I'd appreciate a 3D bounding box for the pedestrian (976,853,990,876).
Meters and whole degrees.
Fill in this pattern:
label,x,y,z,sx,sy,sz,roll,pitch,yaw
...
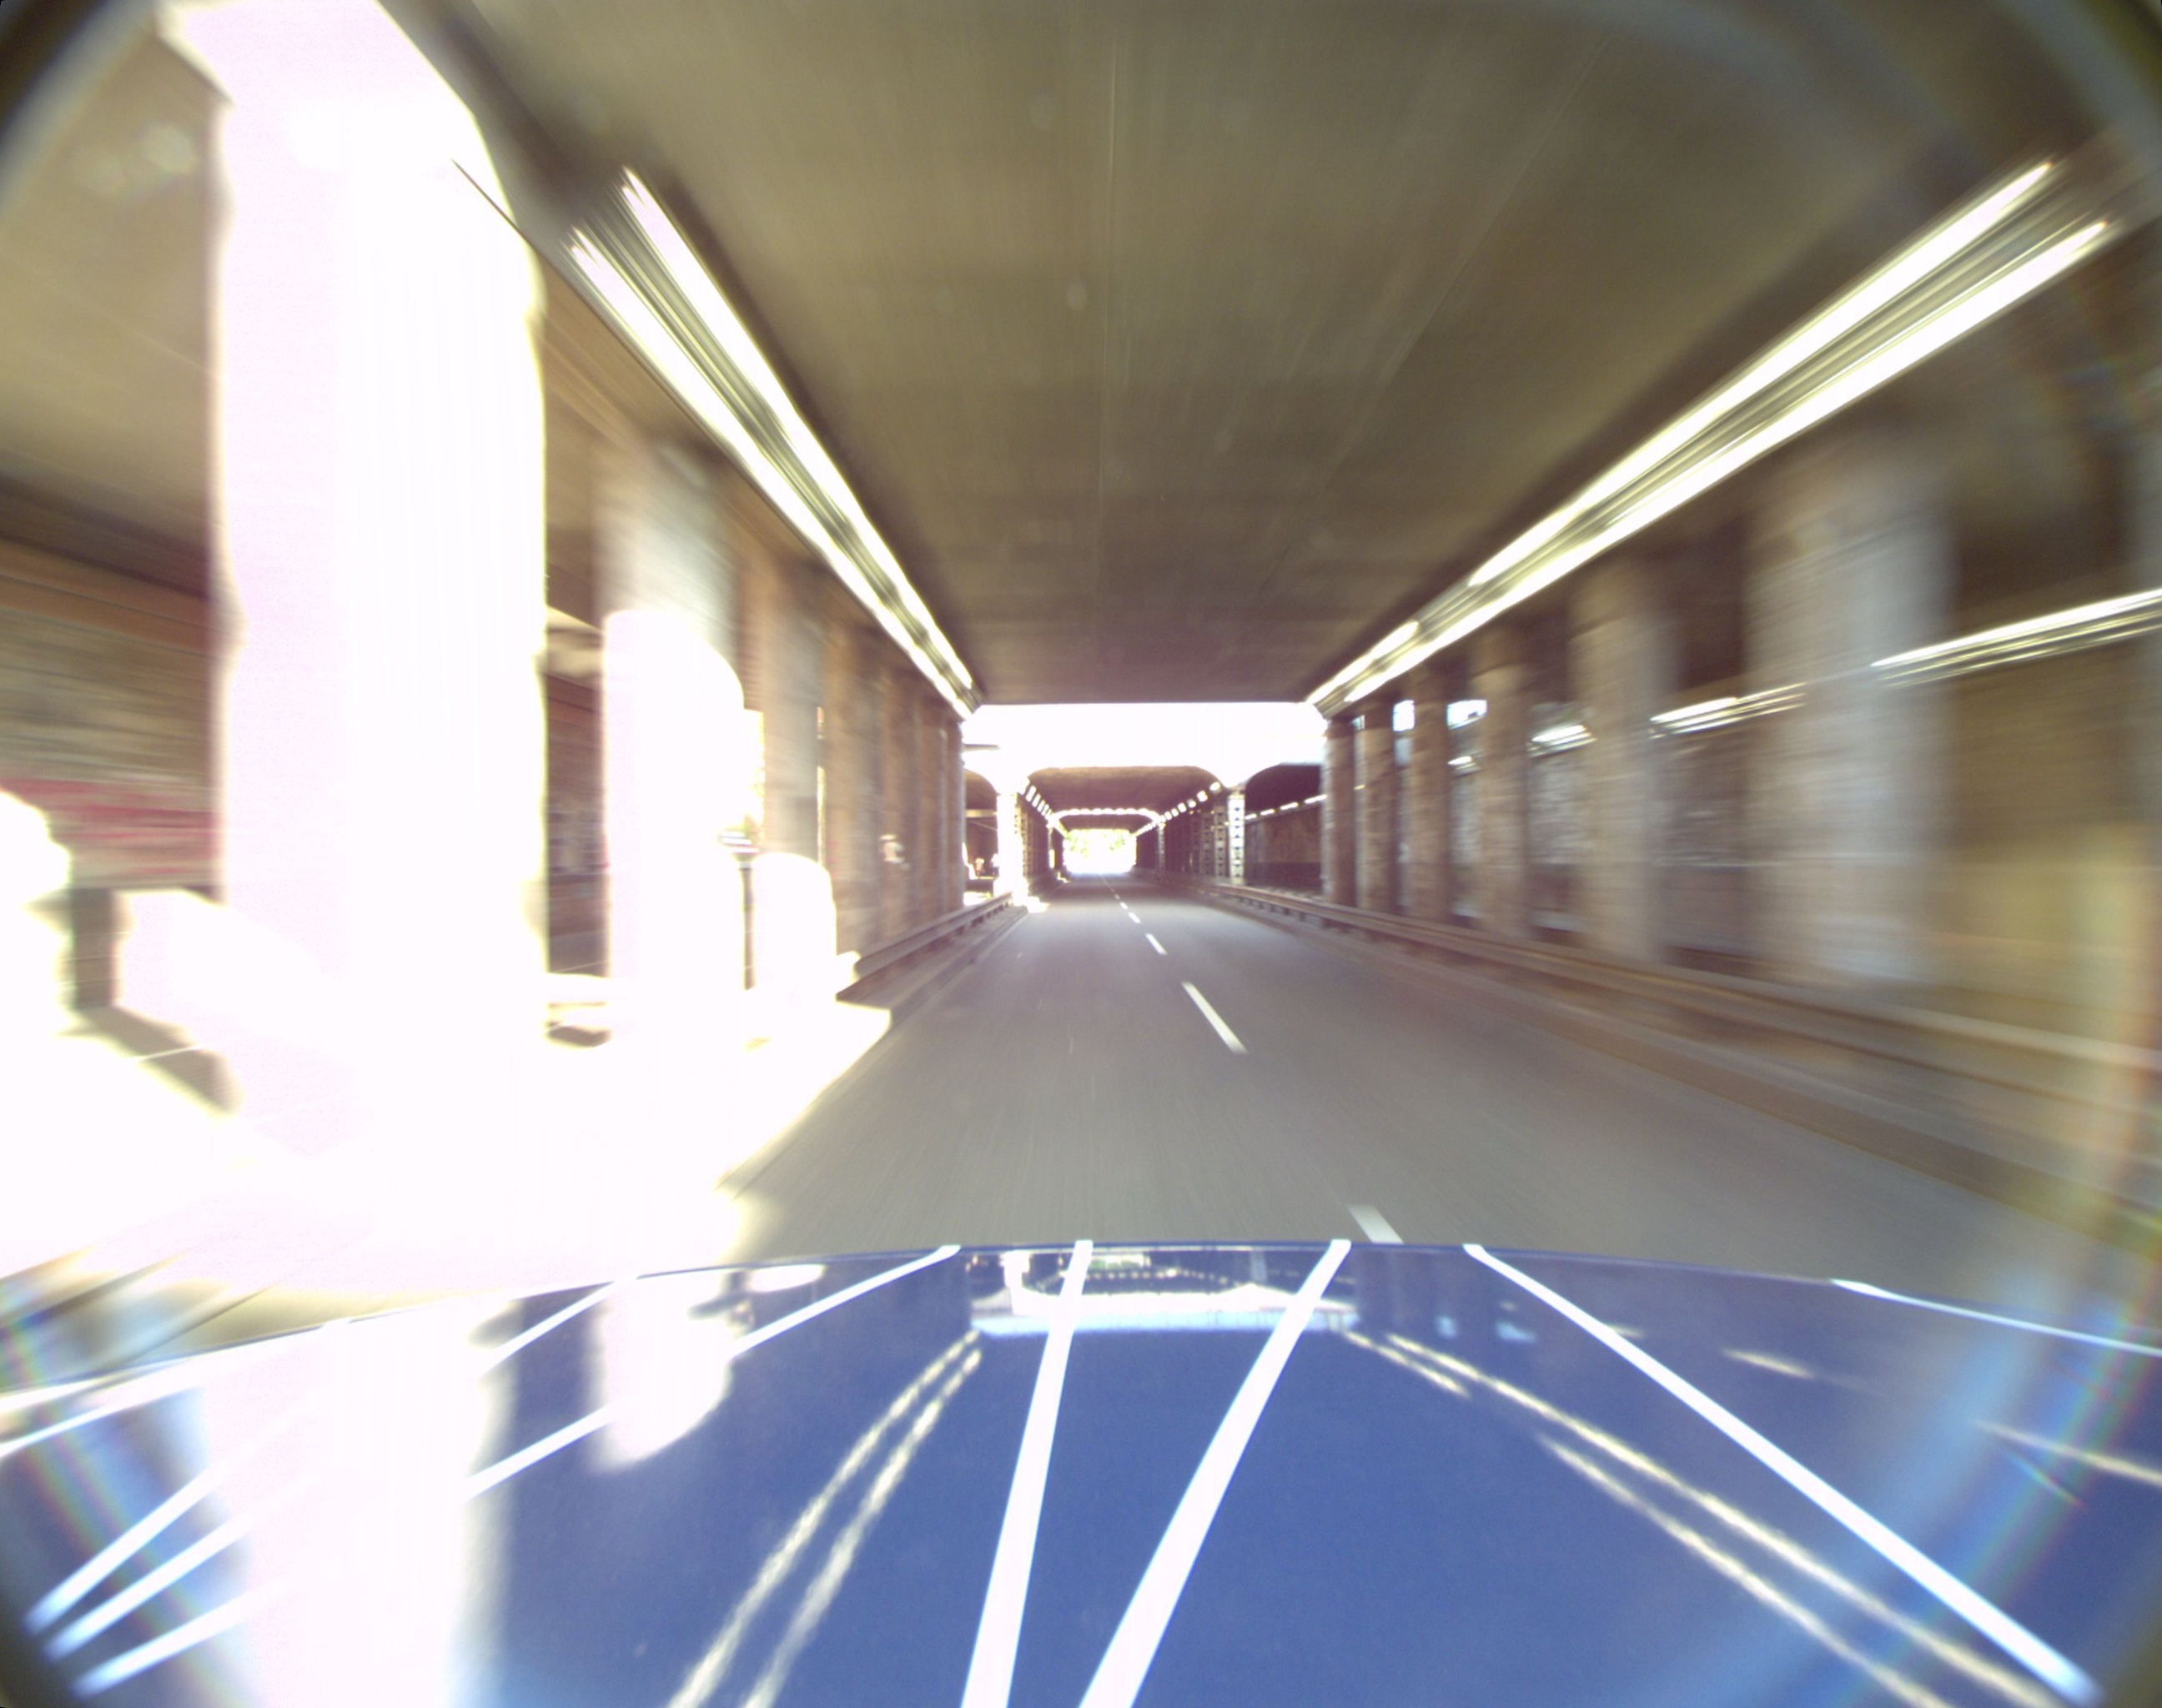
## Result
label,x,y,z,sx,sy,sz,roll,pitch,yaw
pedestrian,-7.166,0.761,55.481,0.919,1.646,0.886,1,0,-2

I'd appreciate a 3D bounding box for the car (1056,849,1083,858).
label,x,y,z,sx,sy,sz,roll,pitch,yaw
car,-2.033,-0.069,136.387,4.330,1.590,1.856,-2,1,-24

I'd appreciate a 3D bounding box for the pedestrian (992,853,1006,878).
label,x,y,z,sx,sy,sz,roll,pitch,yaw
pedestrian,-5.919,0.826,54.967,0.882,1.824,0.922,1,0,-2
